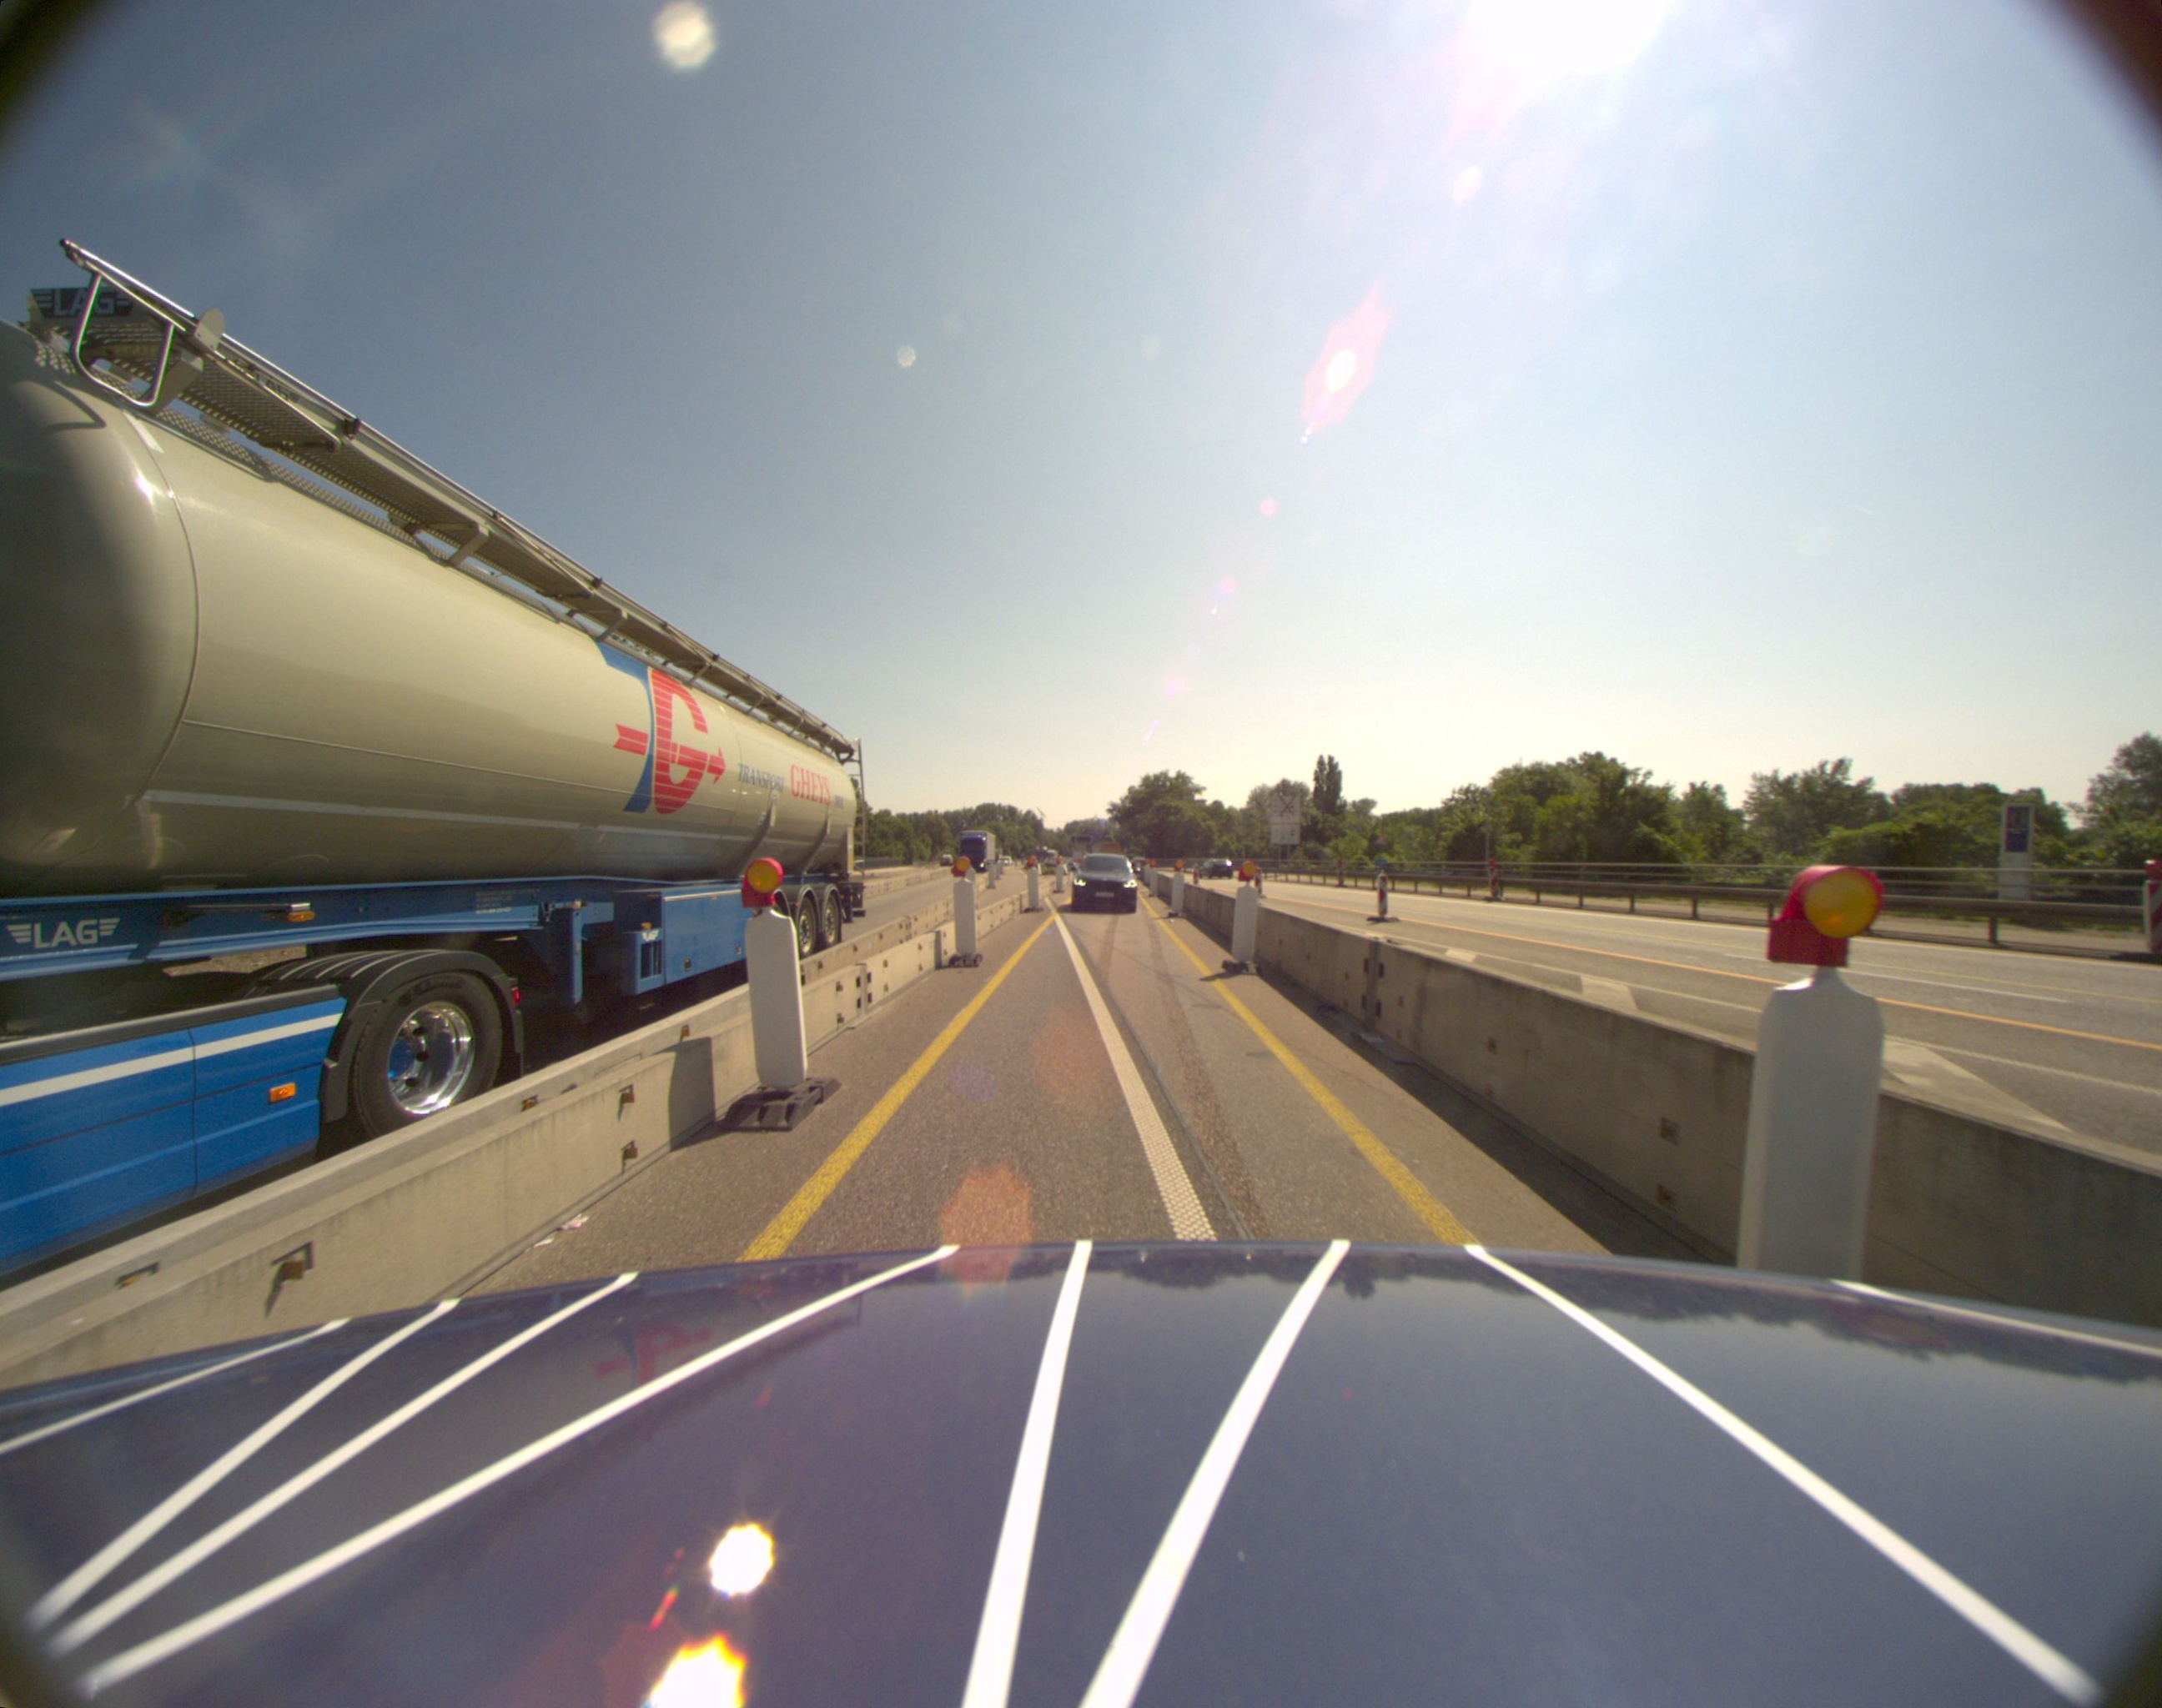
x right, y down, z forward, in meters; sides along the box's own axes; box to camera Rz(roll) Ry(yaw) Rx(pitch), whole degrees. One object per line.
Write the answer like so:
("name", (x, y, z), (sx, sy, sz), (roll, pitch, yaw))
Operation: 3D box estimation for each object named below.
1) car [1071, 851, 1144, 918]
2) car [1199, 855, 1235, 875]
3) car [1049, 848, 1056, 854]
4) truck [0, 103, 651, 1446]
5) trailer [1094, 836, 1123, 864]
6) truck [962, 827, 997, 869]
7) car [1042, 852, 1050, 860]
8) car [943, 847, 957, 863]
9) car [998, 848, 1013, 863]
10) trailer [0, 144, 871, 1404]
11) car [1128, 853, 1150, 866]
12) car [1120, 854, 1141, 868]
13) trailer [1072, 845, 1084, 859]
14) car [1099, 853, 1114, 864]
("car", (0.672, 0.767, 21.658), (1.789, 1.651, 4.486), (2, 0, 0))
("car", (10.264, 0.772, 57.660), (1.672, 1.433, 4.995), (0, 0, -3))
("car", (-9.079, -0.972, 245.156), (1.998, 2.002, 4.000), (1, 0, 1))
("truck", (-4.653, -0.244, 2.496), (2.702, 4.078, 7.297), (1, 0, -4))
("trailer", (4.278, -0.637, 121.522), (2.769, 4.112, 14.523), (1, 0, -5))
("truck", (-10.124, -0.612, 76.701), (2.862, 3.962, 8.662), (1, 0, -4))
("car", (-8.031, 0.412, 173.358), (1.747, 1.621, 4.091), (1, 0, -1))
("car", (-21.792, 0.182, 126.364), (2.111, 2.627, 5.979), (1, 0, -10))
("car", (-10.838, 0.184, 109.536), (1.999, 2.002, 3.998), (1, 0, -4))
("trailer", (-5.090, -0.291, 8.685), (2.702, 4.113, 12.608), (1, 0, -4))
("car", (6.889, 0.654, 90.870), (1.938, 1.499, 4.466), (0, 0, -5))
("car", (5.182, 0.714, 80.361), (1.694, 1.368, 4.271), (0, 0, -3))
("trailer", (-0.874, -0.632, 239.014), (2.811, 4.019, 13.463), (1, 0, -4))
("car", (3.601, 0.620, 107.861), (1.795, 1.559, 3.870), (0, 0, -5))
